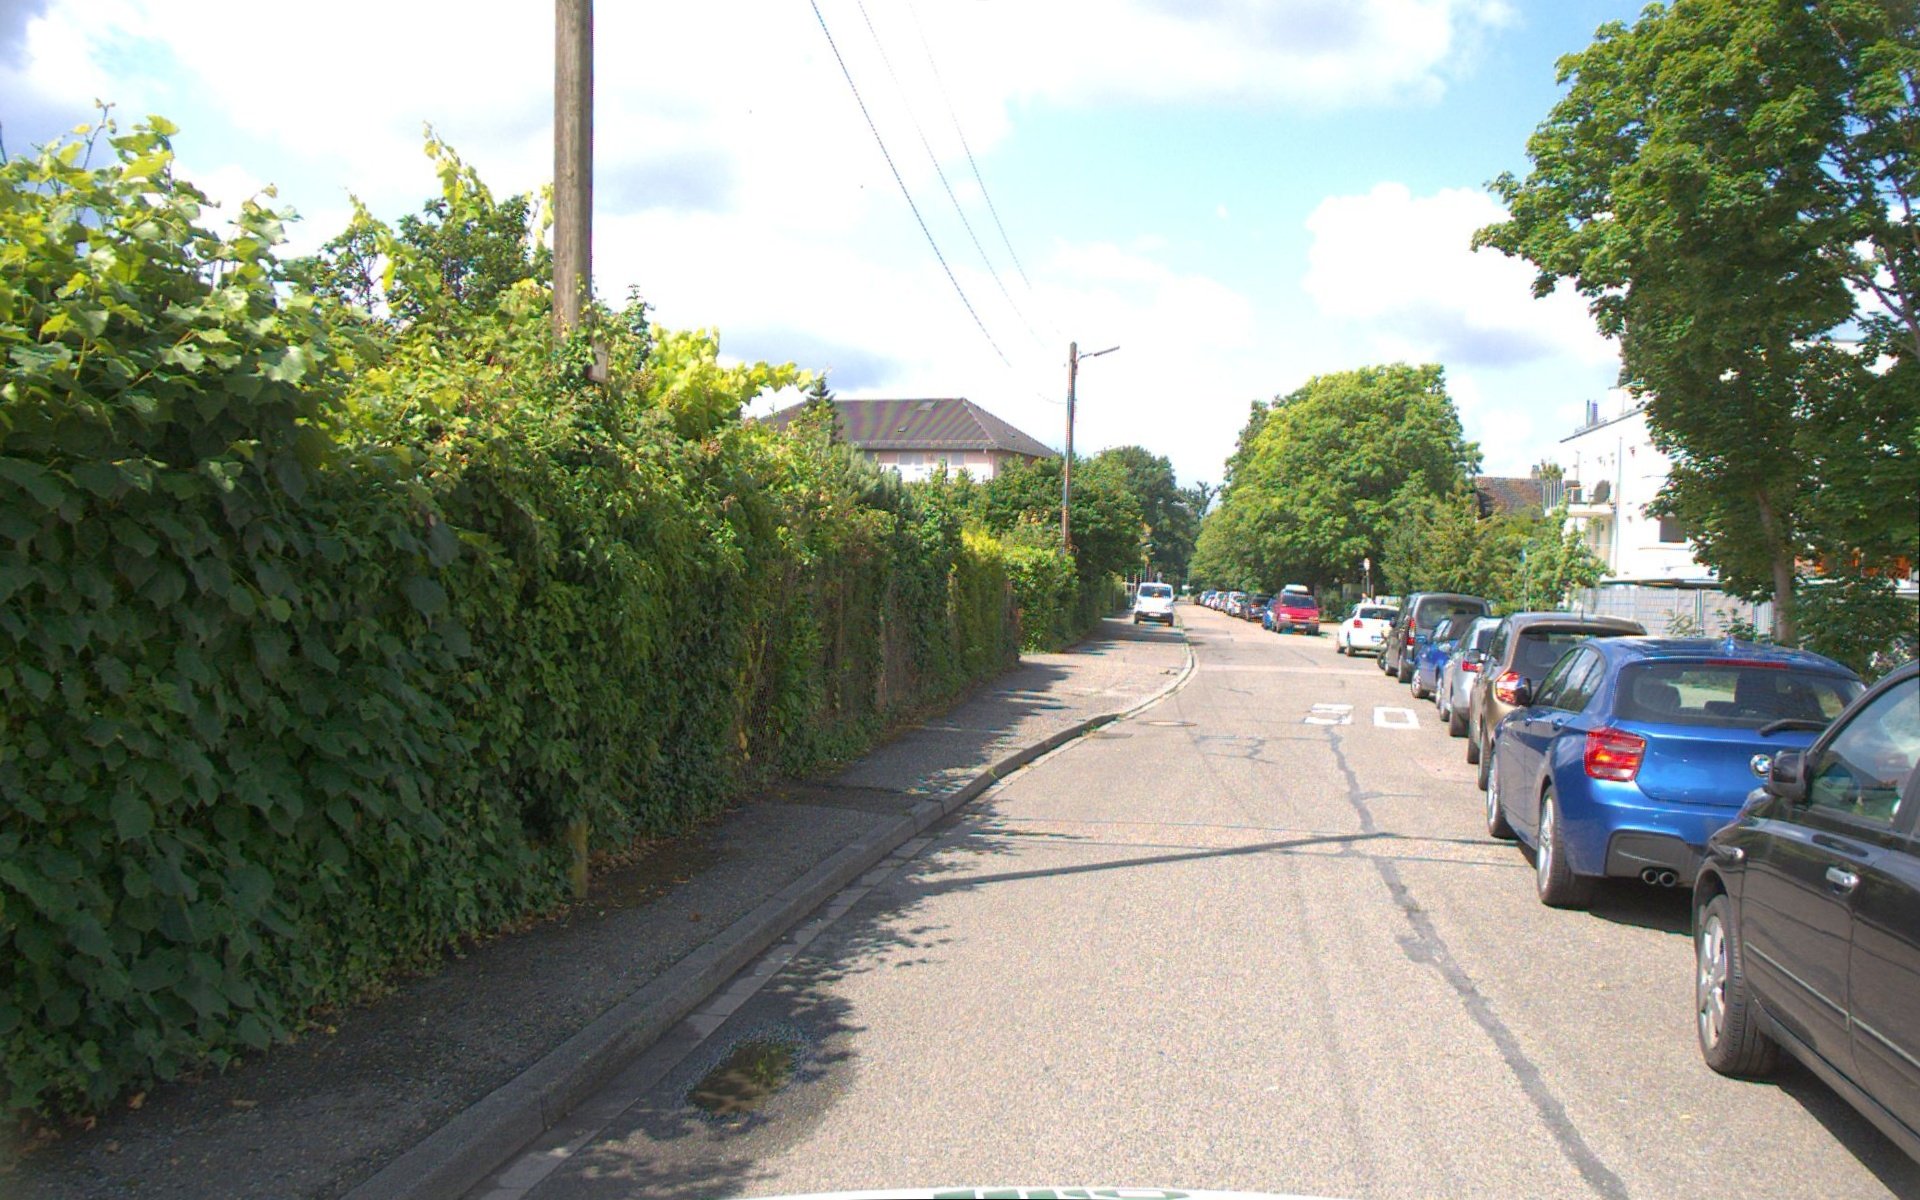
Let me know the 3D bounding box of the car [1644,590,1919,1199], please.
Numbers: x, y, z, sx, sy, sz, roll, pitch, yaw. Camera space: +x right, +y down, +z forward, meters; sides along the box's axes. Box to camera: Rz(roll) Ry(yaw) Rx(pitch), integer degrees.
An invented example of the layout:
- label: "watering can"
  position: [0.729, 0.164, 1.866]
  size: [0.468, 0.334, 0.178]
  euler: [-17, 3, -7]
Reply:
- label: "car"
  position: [3.163, 0.795, 4.487]
  size: [1.628, 1.532, 4.003]
  euler: [4, 1, 12]

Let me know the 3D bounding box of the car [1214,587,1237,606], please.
- label: "car"
  position: [24.177, -0.355, 150.748]
  size: [1.812, 1.646, 4.003]
  euler: [2, 0, 12]

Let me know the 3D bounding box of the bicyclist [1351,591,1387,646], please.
- label: "bicyclist"
  position: [13.862, 0.625, 56.091]
  size: [0.773, 1.816, 0.889]
  euler: [4, 0, 40]

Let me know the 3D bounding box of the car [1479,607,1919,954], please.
- label: "car"
  position: [4.151, 0.834, 9.723]
  size: [1.628, 1.465, 4.210]
  euler: [4, 1, 12]

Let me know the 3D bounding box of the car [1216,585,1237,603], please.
- label: "car"
  position: [26.710, -0.586, 165.677]
  size: [1.813, 1.646, 4.003]
  euler: [4, 1, 12]

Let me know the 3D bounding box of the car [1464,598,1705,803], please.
- label: "car"
  position: [5.701, 0.830, 15.488]
  size: [1.628, 1.579, 3.640]
  euler: [4, 1, 14]

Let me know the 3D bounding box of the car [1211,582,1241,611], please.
- label: "car"
  position: [19.563, -0.270, 121.500]
  size: [2.014, 1.995, 4.545]
  euler: [4, 1, 10]

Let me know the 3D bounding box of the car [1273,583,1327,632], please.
- label: "car"
  position: [14.713, 0.305, 71.792]
  size: [2.014, 1.959, 4.545]
  euler: [4, 1, 10]

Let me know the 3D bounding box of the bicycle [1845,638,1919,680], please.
- label: "bicycle"
  position: [25.492, 1.612, 45.404]
  size: [2.003, 1.098, 0.689]
  euler: [1, 0, 11]

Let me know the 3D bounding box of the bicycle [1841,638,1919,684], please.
- label: "bicycle"
  position: [24.597, 1.611, 43.878]
  size: [2.044, 1.139, 0.625]
  euler: [1, 0, 12]

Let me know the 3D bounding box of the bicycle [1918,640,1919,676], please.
- label: "bicycle"
  position: [29.906, 1.767, 49.526]
  size: [2.003, 1.098, 0.689]
  euler: [1, 0, 11]

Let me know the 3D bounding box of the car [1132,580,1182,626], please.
- label: "car"
  position: [8.675, 0.123, 72.531]
  size: [1.862, 1.845, 4.003]
  euler: [4, 1, 10]

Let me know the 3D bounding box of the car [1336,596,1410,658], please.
- label: "car"
  position: [11.525, 0.718, 46.355]
  size: [1.643, 1.545, 4.003]
  euler: [4, 1, 10]

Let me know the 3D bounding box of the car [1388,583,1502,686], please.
- label: "car"
  position: [9.682, 0.662, 33.218]
  size: [1.834, 1.837, 3.435]
  euler: [4, 1, 12]

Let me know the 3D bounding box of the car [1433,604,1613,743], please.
- label: "car"
  position: [6.966, 0.842, 20.783]
  size: [1.628, 1.464, 3.747]
  euler: [4, 1, 12]

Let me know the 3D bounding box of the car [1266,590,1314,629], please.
- label: "car"
  position: [15.630, 0.432, 78.533]
  size: [2.014, 1.680, 4.545]
  euler: [4, 1, 10]

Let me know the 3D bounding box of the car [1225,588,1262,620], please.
- label: "car"
  position: [16.487, 0.218, 96.199]
  size: [2.014, 1.680, 4.545]
  euler: [4, 1, 10]

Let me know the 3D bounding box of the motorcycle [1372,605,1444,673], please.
- label: "motorcycle"
  position: [9.985, 0.860, 36.923]
  size: [1.397, 1.385, 0.870]
  euler: [4, 0, 9]

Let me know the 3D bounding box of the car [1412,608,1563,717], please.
- label: "car"
  position: [8.201, 0.925, 25.975]
  size: [1.628, 1.459, 3.544]
  euler: [4, 1, 8]
